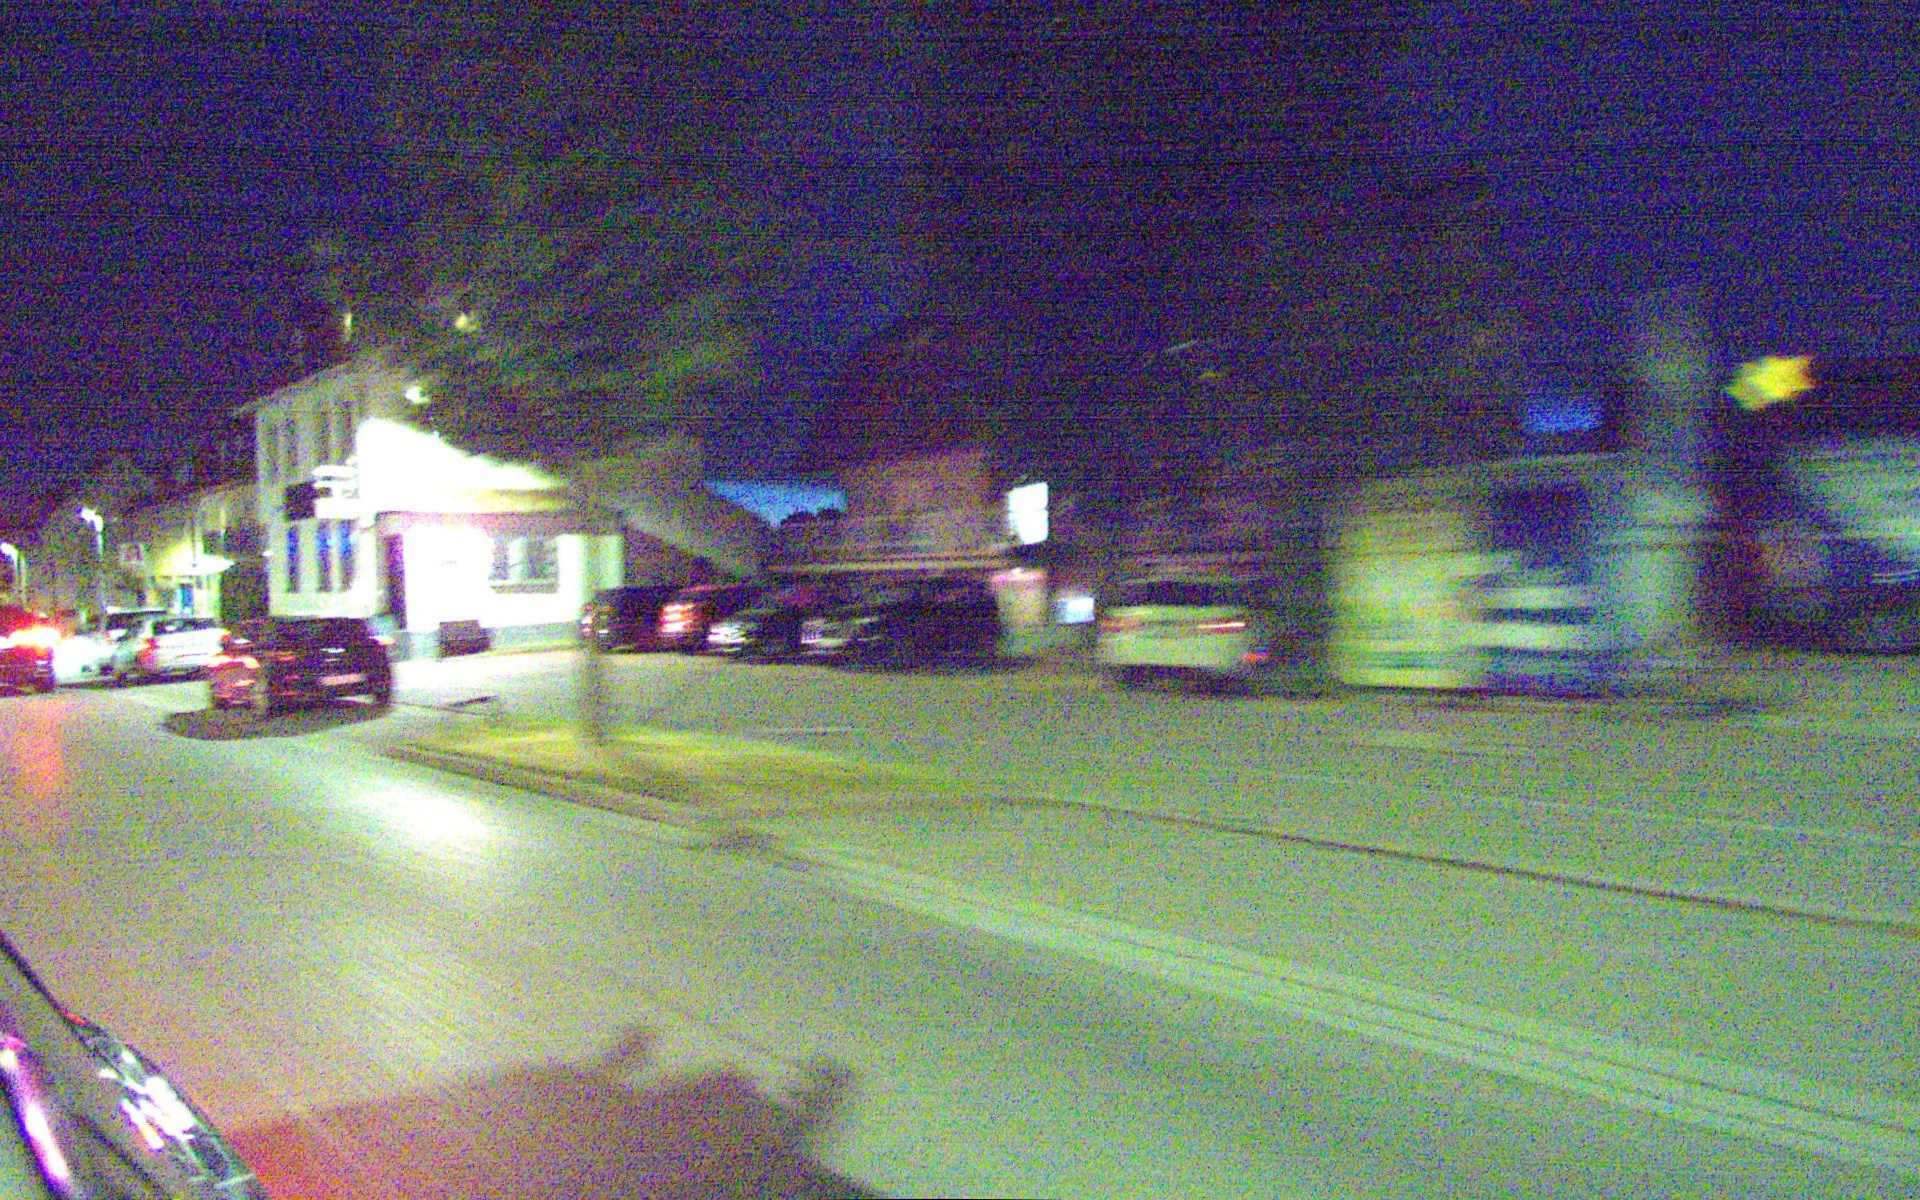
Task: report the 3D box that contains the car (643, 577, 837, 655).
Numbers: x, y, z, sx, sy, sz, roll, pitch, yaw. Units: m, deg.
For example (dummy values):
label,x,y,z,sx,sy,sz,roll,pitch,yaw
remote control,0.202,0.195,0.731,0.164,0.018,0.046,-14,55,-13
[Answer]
label,x,y,z,sx,sy,sz,roll,pitch,yaw
car,-5.043,0.321,23.540,2.001,1.630,3.942,-1,0,45

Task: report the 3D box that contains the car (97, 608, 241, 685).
label,x,y,z,sx,sy,sz,roll,pitch,yaw
car,-17.674,0.986,22.556,3.964,1.479,1.753,-1,2,41

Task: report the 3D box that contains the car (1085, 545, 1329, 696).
label,x,y,z,sx,sy,sz,roll,pitch,yaw
car,3.460,0.290,13.656,1.943,1.716,3.953,-1,-2,34

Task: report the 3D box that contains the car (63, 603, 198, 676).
label,x,y,z,sx,sy,sz,roll,pitch,yaw
car,-21.408,0.968,26.059,4.468,1.649,1.909,-1,1,41

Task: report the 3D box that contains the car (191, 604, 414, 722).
label,x,y,z,sx,sy,sz,roll,pitch,yaw
car,-9.920,0.853,15.155,4.007,1.479,1.731,-1,1,41

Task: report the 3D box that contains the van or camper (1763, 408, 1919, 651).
label,x,y,z,sx,sy,sz,roll,pitch,yaw
van or camper,12.778,-0.850,11.265,5.926,2.767,2.053,-1,1,41

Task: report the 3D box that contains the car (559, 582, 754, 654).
label,x,y,z,sx,sy,sz,roll,pitch,yaw
car,-7.342,0.390,24.884,2.025,1.573,4.276,-1,0,34

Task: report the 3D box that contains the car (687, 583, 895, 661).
label,x,y,z,sx,sy,sz,roll,pitch,yaw
car,-3.472,0.446,21.295,2.000,1.475,3.943,-1,-1,43

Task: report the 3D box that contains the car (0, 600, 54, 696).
label,x,y,z,sx,sy,sz,roll,pitch,yaw
car,-19.600,0.926,20.094,4.558,1.761,1.981,-1,0,43

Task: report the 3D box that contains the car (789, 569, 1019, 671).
label,x,y,z,sx,sy,sz,roll,pitch,yaw
car,-0.955,0.366,18.878,2.000,1.674,4.070,-1,-1,43

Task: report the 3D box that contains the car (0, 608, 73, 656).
label,x,y,z,sx,sy,sz,roll,pitch,yaw
car,-37.118,1.212,40.171,4.473,1.559,2.095,0,5,40

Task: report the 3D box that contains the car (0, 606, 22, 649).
label,x,y,z,sx,sy,sz,roll,pitch,yaw
car,-46.252,1.325,47.900,4.884,1.961,2.095,-1,1,40
